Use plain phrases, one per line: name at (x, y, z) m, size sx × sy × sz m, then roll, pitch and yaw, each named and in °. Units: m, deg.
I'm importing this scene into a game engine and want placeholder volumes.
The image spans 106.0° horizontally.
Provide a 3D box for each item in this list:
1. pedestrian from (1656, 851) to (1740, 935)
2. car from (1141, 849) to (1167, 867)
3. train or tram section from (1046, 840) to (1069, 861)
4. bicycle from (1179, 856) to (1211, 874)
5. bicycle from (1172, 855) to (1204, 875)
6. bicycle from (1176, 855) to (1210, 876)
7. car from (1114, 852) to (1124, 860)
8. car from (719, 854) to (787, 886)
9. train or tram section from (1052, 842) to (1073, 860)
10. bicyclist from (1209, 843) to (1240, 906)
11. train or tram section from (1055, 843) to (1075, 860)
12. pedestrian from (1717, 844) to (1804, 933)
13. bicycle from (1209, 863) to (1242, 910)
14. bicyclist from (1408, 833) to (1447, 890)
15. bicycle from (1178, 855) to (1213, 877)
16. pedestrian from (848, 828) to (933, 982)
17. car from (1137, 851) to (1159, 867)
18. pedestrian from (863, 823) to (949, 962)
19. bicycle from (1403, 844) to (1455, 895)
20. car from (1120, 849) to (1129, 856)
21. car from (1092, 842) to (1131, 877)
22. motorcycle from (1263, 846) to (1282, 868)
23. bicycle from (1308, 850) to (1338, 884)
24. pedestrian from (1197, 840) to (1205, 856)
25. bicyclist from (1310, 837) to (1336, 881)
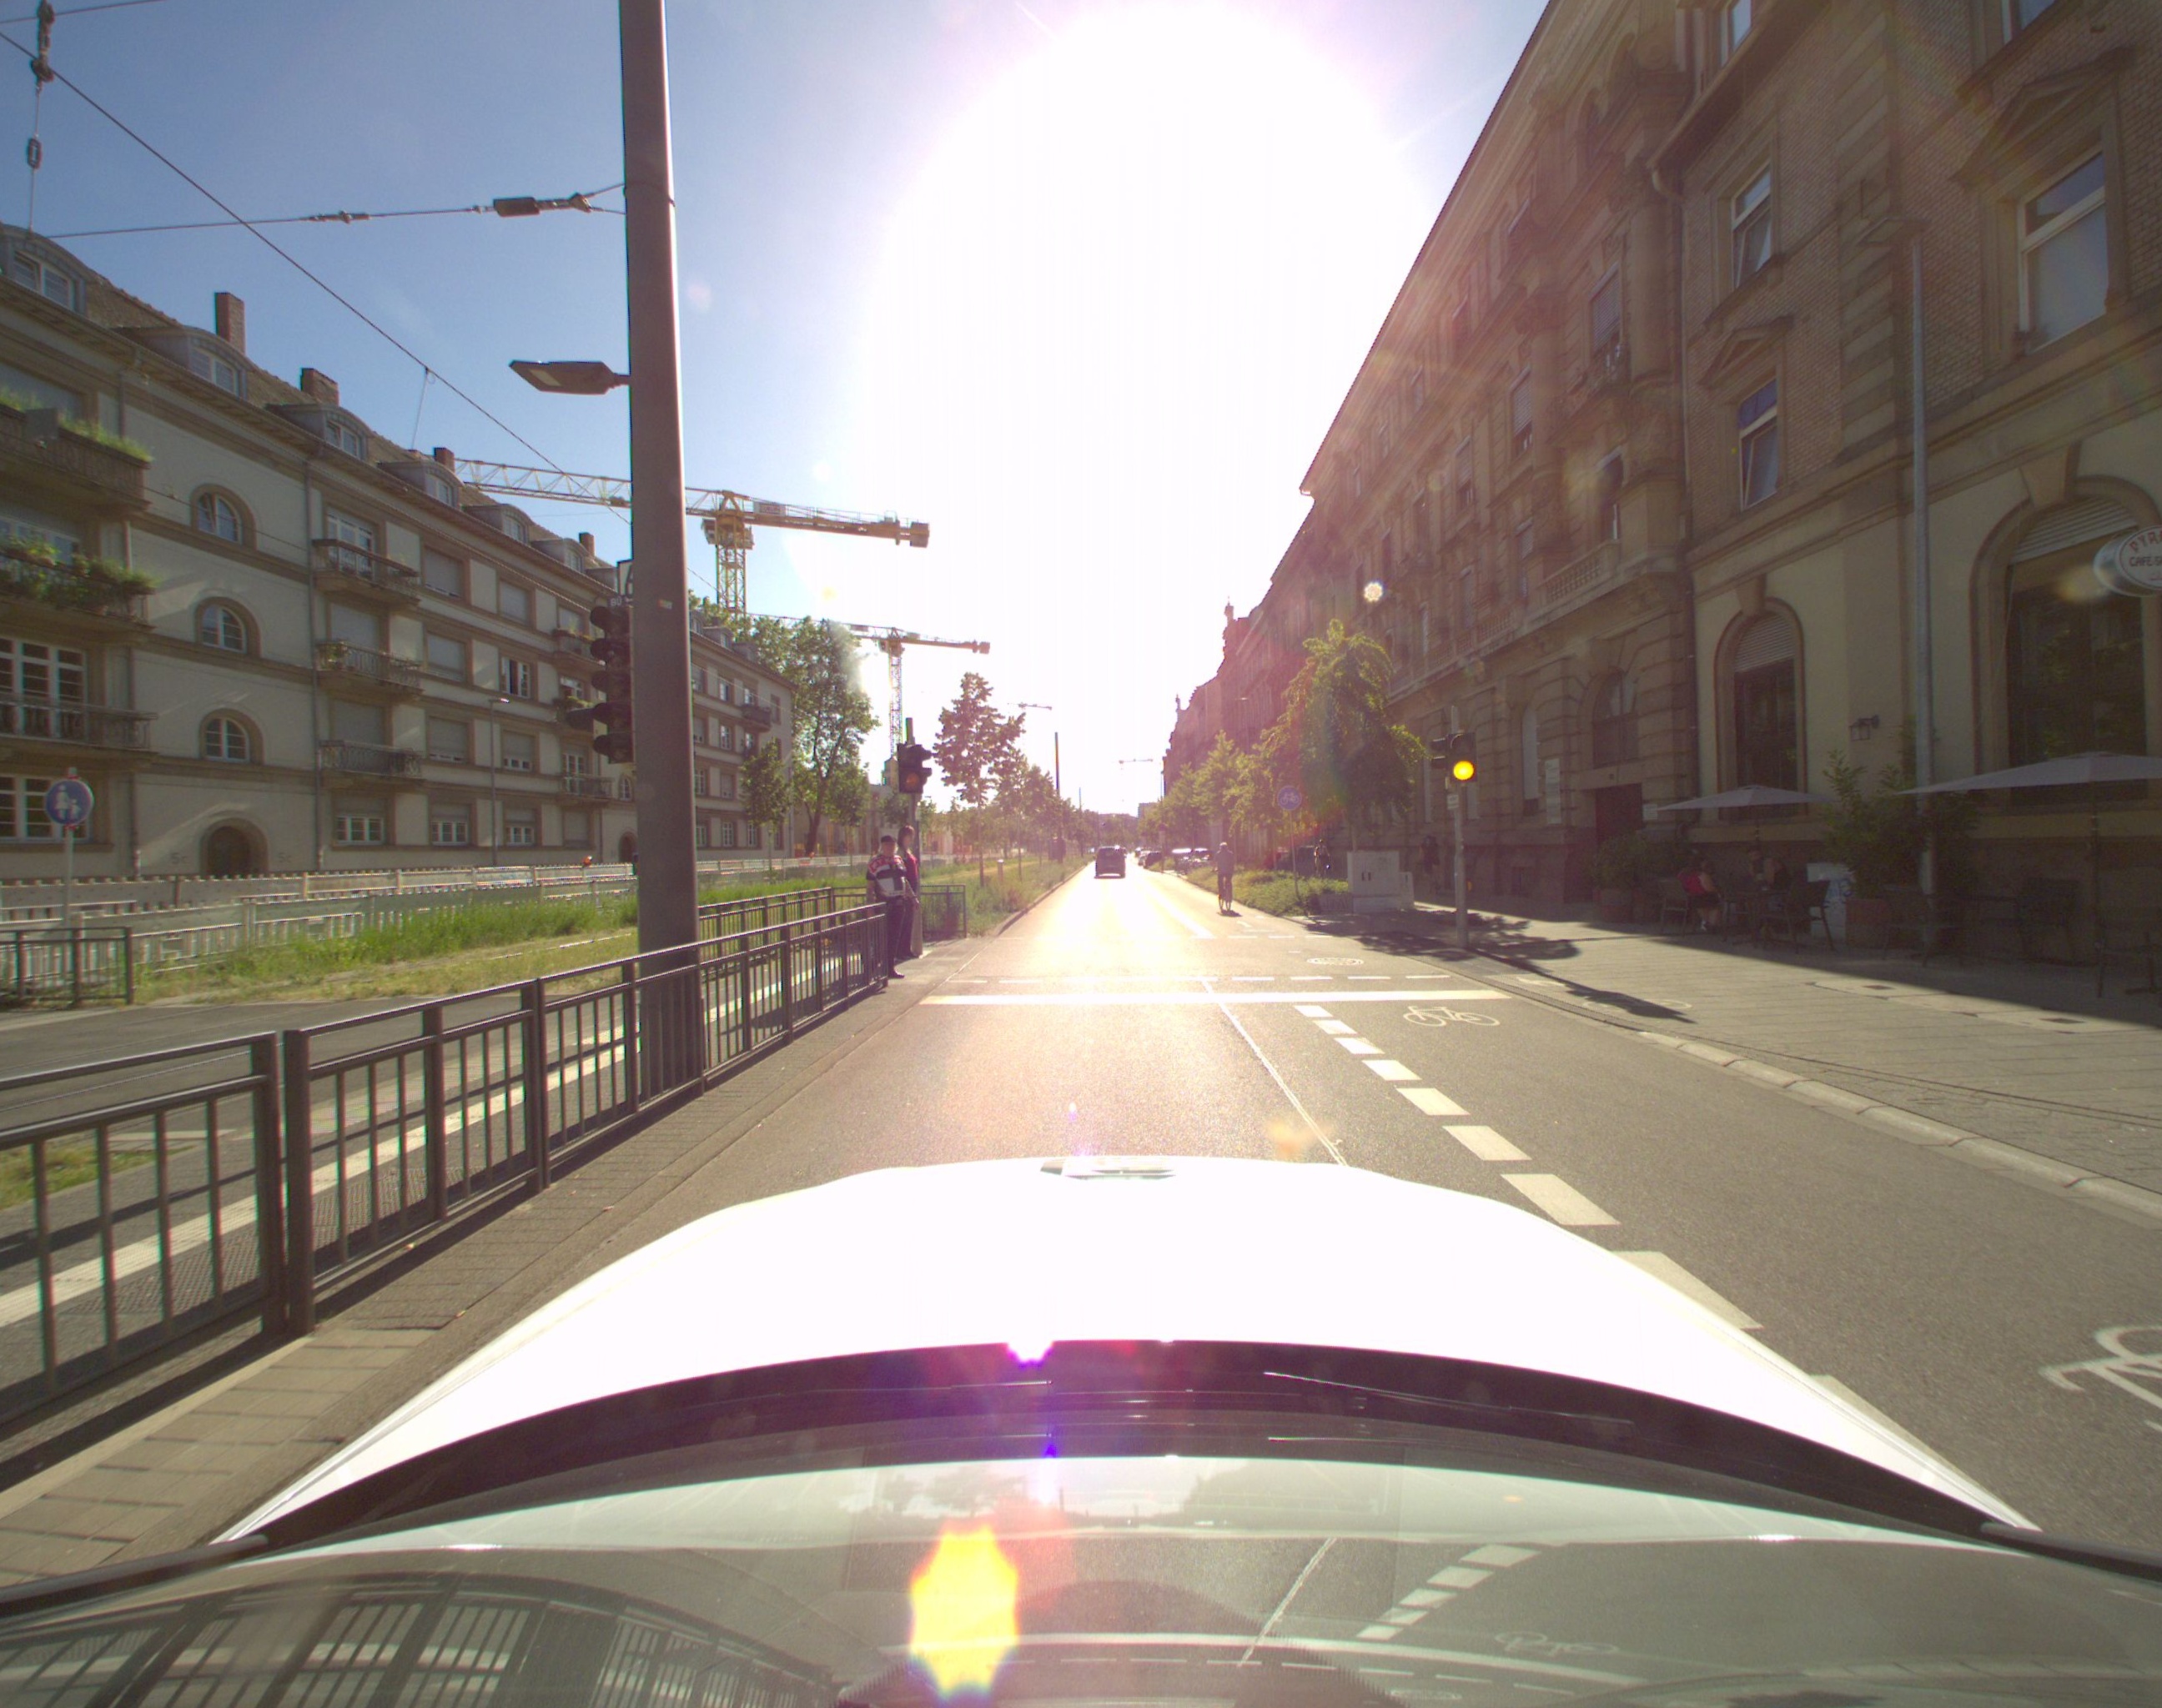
pedestrian at (9.143, 0.562, 12.095) m, size 0.703 × 1.178 × 0.635 m, roll -3°, pitch 0°, yaw 1°
car at (6.467, 0.347, 72.450) m, size 2.020 × 1.499 × 4.655 m, roll -2°, pitch 0°, yaw 1°
train or tram section at (-3.258, -0.454, 115.301) m, size 2.746 × 2.743 × 9.865 m, roll 0°, pitch 0°, yaw 1°
bicycle at (6.673, 0.642, 47.659) m, size 1.786 × 1.030 × 0.528 m, roll -2°, pitch 0°, yaw 1°
bicycle at (6.432, 0.668, 49.137) m, size 1.786 × 1.030 × 0.528 m, roll -6°, pitch 0°, yaw 1°
bicycle at (6.331, 0.649, 46.122) m, size 1.786 × 1.030 × 0.528 m, roll -6°, pitch 0°, yaw 1°
car at (7.817, 0.388, 166.308) m, size 1.986 × 1.729 × 4.001 m, roll 0°, pitch 0°, yaw 2°
car at (-17.129, 0.792, 42.768) m, size 1.809 × 1.516 × 4.002 m, roll -2°, pitch 0°, yaw 2°
train or tram section at (-2.807, -0.392, 125.144) m, size 2.746 × 2.743 × 9.865 m, roll 0°, pitch 0°, yaw 1°
bicyclist at (3.883, 0.546, 22.070) m, size 0.682 × 1.673 × 0.922 m, roll 0°, pitch 0°, yaw 1°
train or tram section at (-2.593, -0.329, 135.029) m, size 2.746 × 2.743 × 9.865 m, roll 0°, pitch 0°, yaw 1°
pedestrian at (10.070, 0.499, 12.086) m, size 0.703 × 1.236 × 0.635 m, roll -3°, pitch 0°, yaw 1°
bicycle at (3.889, 0.859, 21.989) m, size 0.599 × 1.181 × 1.869 m, roll 0°, pitch 0°, yaw 1°
bicyclist at (9.828, 0.203, 23.134) m, size 0.658 × 1.530 × 0.801 m, roll -6°, pitch 0°, yaw 3°
bicycle at (6.294, 0.640, 44.748) m, size 1.786 × 1.030 × 0.528 m, roll -6°, pitch 0°, yaw 1°
pedestrian at (-2.332, 0.595, 10.072) m, size 0.863 × 1.788 × 0.969 m, roll -1°, pitch 0°, yaw -5°
car at (6.946, 0.501, 84.894) m, size 2.020 × 1.499 × 4.532 m, roll -2°, pitch 0°, yaw 1°
pedestrian at (-2.504, 0.532, 11.769) m, size 1.073 × 1.908 × 0.652 m, roll -2°, pitch 0°, yaw -5°
bicycle at (9.869, 0.424, 23.154) m, size 0.613 × 1.330 × 1.901 m, roll -6°, pitch 0°, yaw 3°
car at (10.400, -0.347, 196.271) m, size 1.986 × 1.838 × 4.001 m, roll 0°, pitch 0°, yaw 2°
car at (1.819, 0.316, 49.491) m, size 2.192 × 1.926 × 4.655 m, roll -2°, pitch 0°, yaw 1°
motorcycle at (11.542, 0.182, 49.191) m, size 0.697 × 1.267 × 1.983 m, roll -2°, pitch 0°, yaw 2°
bicycle at (9.197, 0.462, 30.985) m, size 0.581 × 1.222 × 1.901 m, roll -2°, pitch 0°, yaw 2°
pedestrian at (11.762, -0.600, 79.737) m, size 0.611 × 1.611 × 0.669 m, roll -2°, pitch 0°, yaw 1°
bicyclist at (9.198, 0.195, 31.008) m, size 0.664 × 1.639 × 0.961 m, roll -2°, pitch 0°, yaw 1°
